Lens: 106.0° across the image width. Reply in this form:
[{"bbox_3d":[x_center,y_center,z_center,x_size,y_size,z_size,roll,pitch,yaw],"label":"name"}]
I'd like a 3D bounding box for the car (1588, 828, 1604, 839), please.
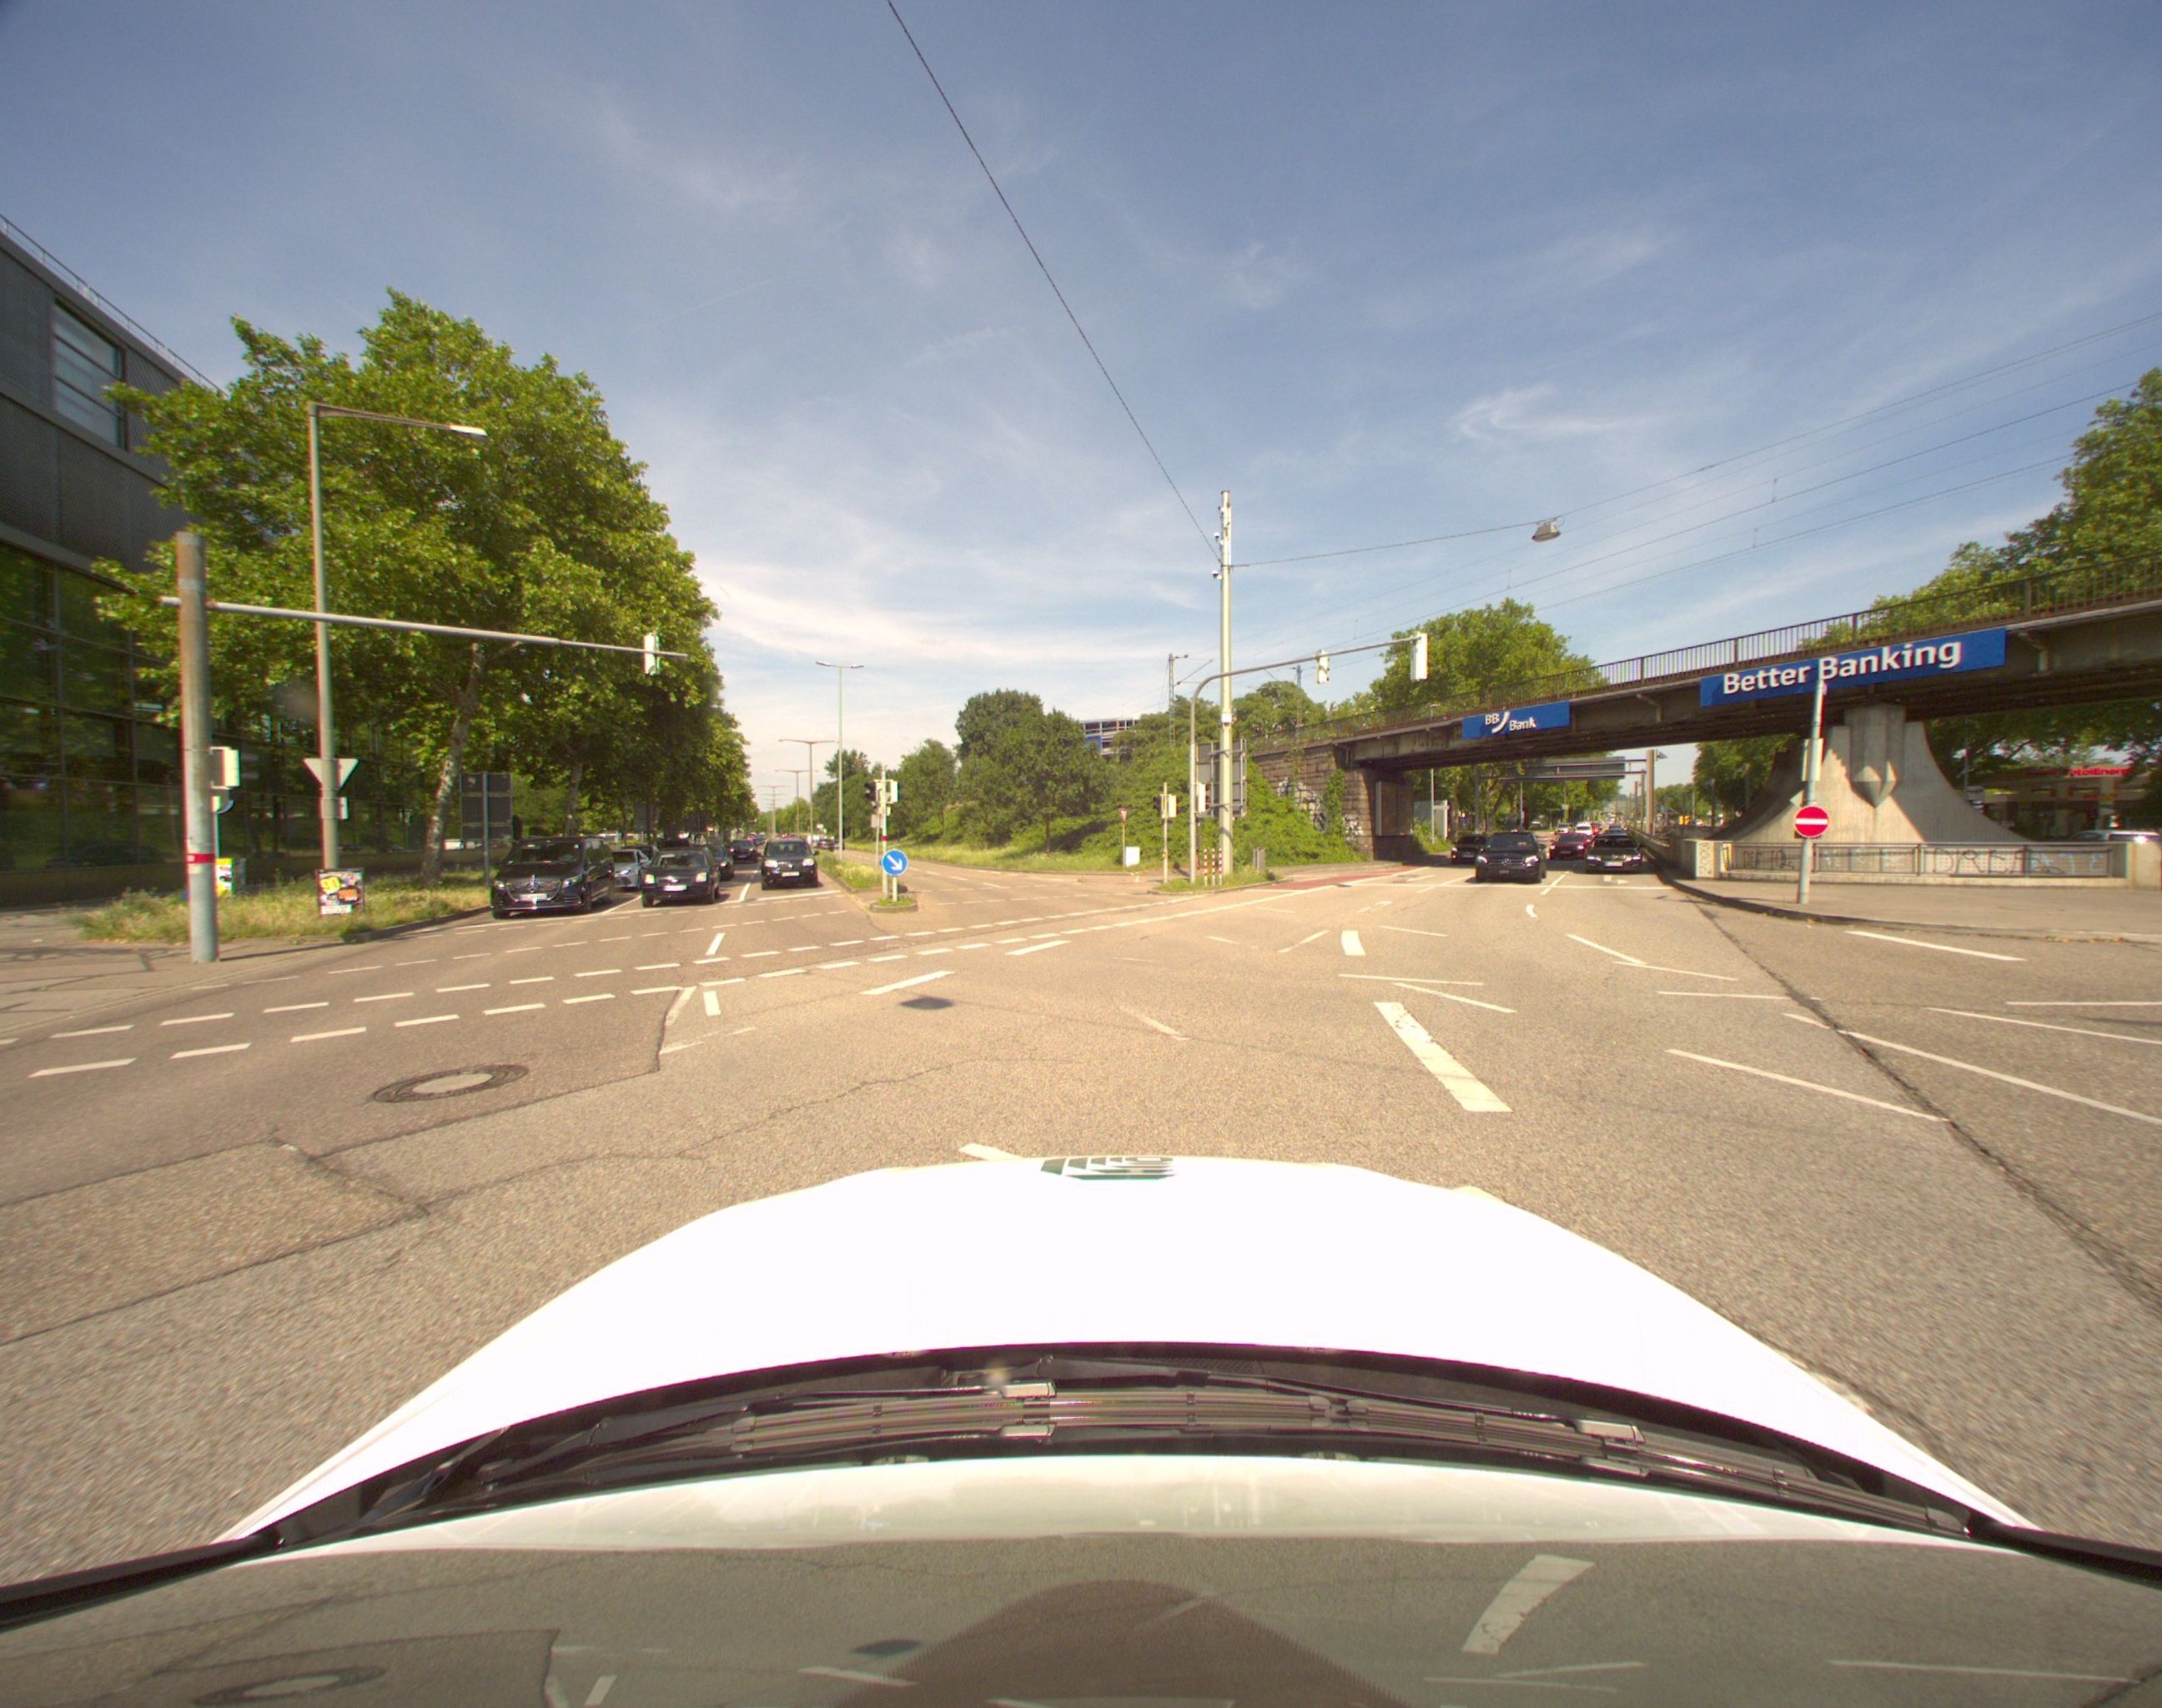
[{"bbox_3d":[73.545,-2.929,116.250,1.673,1.423,4.026,3,4,35],"label":"car"}]

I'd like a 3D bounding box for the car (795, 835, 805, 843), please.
[{"bbox_3d":[-67.437,-3.523,195.545,1.920,1.845,3.971,-1,2,-22],"label":"car"}]

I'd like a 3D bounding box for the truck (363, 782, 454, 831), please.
[{"bbox_3d":[-51.395,-3.484,62.157,8.873,3.395,2.691,0,1,33],"label":"truck"}]

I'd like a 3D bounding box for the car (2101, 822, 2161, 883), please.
[{"bbox_3d":[28.215,-0.029,20.454,1.974,1.507,4.512,3,4,35],"label":"car"}]

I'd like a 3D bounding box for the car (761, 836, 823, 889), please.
[{"bbox_3d":[-10.058,0.210,28.144,1.815,1.615,4.458,-2,2,-22],"label":"car"}]

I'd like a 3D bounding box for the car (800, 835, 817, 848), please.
[{"bbox_3d":[-37.862,-1.740,113.181,2.001,1.683,3.972,-1,2,-21],"label":"car"}]

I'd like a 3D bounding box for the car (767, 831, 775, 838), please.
[{"bbox_3d":[-88.459,-5.625,232.502,2.000,1.859,3.974,-1,1,-20],"label":"car"}]

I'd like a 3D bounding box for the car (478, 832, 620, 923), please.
[{"bbox_3d":[-13.290,0.452,20.734,1.945,1.919,5.192,-1,3,-21],"label":"car"}]

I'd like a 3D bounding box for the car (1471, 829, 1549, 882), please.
[{"bbox_3d":[14.187,-0.003,26.795,1.974,1.596,4.474,-1,1,31],"label":"car"}]

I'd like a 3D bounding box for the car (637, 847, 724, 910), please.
[{"bbox_3d":[-10.914,0.587,22.413,1.768,1.475,3.930,-1,2,-21],"label":"car"}]

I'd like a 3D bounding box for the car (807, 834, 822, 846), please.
[{"bbox_3d":[-41.399,-2.159,126.579,2.001,1.708,4.234,-1,1,-21],"label":"car"}]

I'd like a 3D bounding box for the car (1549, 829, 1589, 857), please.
[{"bbox_3d":[26.375,-0.631,43.975,1.686,1.420,4.026,0,2,33],"label":"car"}]

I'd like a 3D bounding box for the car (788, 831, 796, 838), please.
[{"bbox_3d":[-86.153,-5.809,242.503,1.920,1.845,3.971,-1,2,-22],"label":"car"}]

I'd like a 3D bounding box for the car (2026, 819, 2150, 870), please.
[{"bbox_3d":[37.189,-0.405,30.207,1.892,1.769,4.026,1,2,36],"label":"car"}]

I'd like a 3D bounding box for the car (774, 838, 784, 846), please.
[{"bbox_3d":[-66.410,-2.664,179.308,1.920,1.845,3.971,-1,2,-22],"label":"car"}]

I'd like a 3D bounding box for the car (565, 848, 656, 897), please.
[{"bbox_3d":[-16.468,0.569,28.792,1.898,1.449,4.970,-3,2,-20],"label":"car"}]

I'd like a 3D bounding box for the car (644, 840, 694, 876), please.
[{"bbox_3d":[-23.225,0.160,46.040,2.001,1.834,4.619,-2,2,-21],"label":"car"}]

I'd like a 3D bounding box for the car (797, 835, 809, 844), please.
[{"bbox_3d":[-52.419,-2.786,153.432,2.001,1.628,4.059,-1,2,-21],"label":"car"}]

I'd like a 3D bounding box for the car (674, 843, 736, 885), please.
[{"bbox_3d":[-15.098,0.335,32.904,1.842,1.462,4.486,-3,2,-20],"label":"car"}]

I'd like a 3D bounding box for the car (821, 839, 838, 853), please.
[{"bbox_3d":[-35.568,-1.131,115.033,2.025,1.837,3.974,0,3,-21],"label":"car"}]

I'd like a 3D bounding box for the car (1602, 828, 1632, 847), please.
[{"bbox_3d":[42.446,-1.358,64.427,1.671,1.442,4.026,1,2,37],"label":"car"}]

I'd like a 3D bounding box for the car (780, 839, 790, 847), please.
[{"bbox_3d":[-53.664,-1.985,147.712,1.632,1.483,4.020,1,1,-21],"label":"car"}]

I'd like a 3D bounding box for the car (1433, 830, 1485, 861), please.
[{"bbox_3d":[19.199,-0.469,41.313,1.804,1.506,4.243,0,2,33],"label":"car"}]

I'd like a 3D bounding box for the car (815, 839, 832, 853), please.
[{"bbox_3d":[-31.022,-0.945,98.095,1.743,1.535,3.974,0,3,-21],"label":"car"}]

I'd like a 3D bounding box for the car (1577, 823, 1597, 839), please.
[{"bbox_3d":[58.701,-2.655,94.498,1.780,1.716,4.026,0,2,34],"label":"car"}]

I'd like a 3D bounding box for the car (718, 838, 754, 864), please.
[{"bbox_3d":[-23.444,-0.228,55.475,2.001,1.610,4.465,-2,2,-21],"label":"car"}]

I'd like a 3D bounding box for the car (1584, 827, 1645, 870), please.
[{"bbox_3d":[19.556,-0.247,29.798,1.671,1.442,4.026,1,2,36],"label":"car"}]
